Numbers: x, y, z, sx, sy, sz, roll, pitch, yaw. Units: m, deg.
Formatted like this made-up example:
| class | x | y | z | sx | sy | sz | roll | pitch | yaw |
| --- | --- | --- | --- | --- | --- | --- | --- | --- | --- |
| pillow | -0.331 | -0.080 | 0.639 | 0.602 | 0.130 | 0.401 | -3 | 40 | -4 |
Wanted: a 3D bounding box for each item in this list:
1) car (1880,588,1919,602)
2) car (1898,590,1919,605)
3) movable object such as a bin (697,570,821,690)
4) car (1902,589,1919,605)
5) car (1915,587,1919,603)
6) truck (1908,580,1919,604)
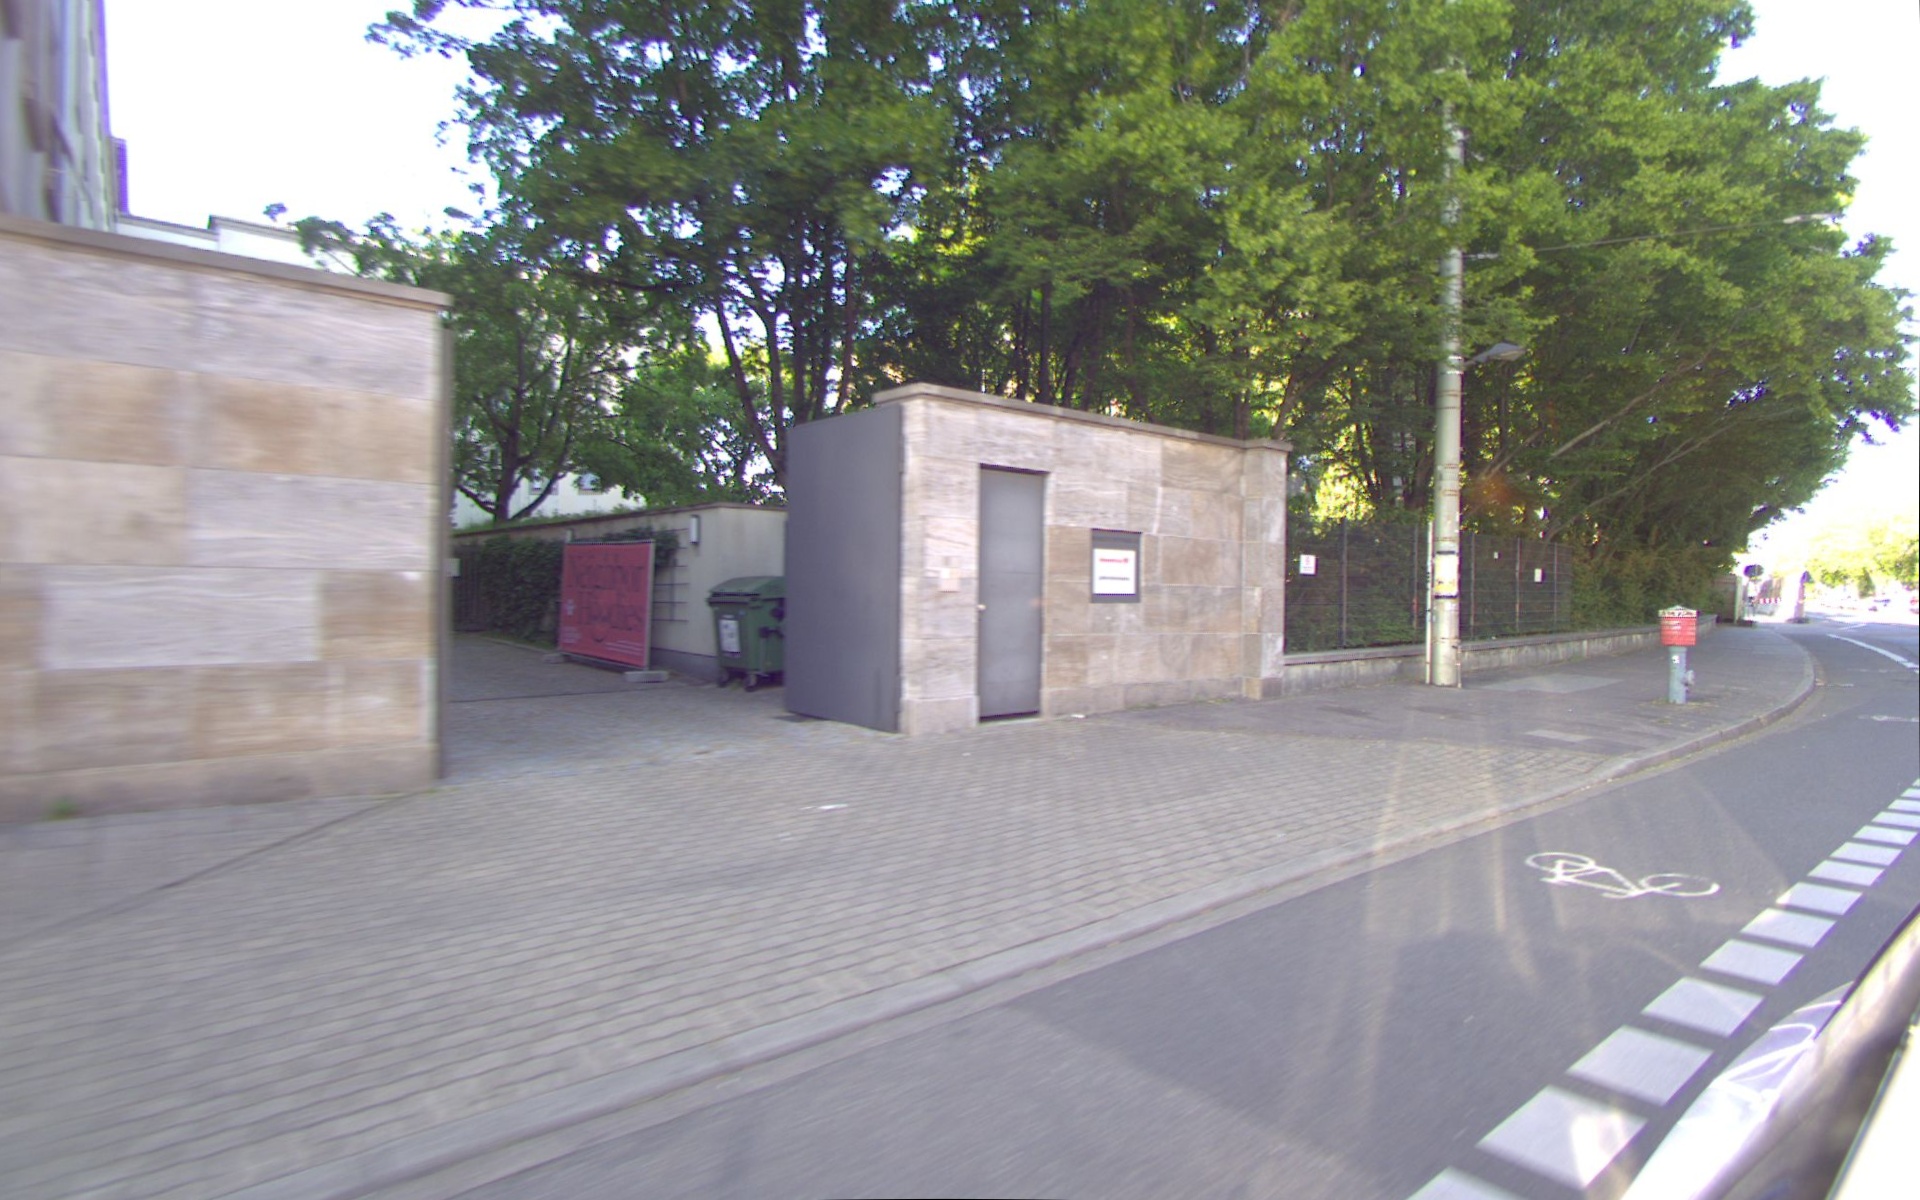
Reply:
| class | x | y | z | sx | sy | sz | roll | pitch | yaw |
| --- | --- | --- | --- | --- | --- | --- | --- | --- | --- |
| car | 115.211 | -0.577 | 123.670 | 3.744 | 1.614 | 1.654 | -2 | -1 | 32 |
| car | 105.173 | -0.340 | 110.433 | 3.744 | 1.614 | 1.654 | -2 | -1 | 32 |
| movable object such as a bin | -2.678 | 0.357 | 13.457 | 1.092 | 1.485 | 1.375 | 0 | 1 | -40 |
| car | 103.380 | -0.363 | 108.033 | 3.744 | 1.614 | 1.654 | -2 | -1 | 32 |
| car | 99.011 | -0.548 | 101.984 | 3.744 | 1.614 | 1.654 | -2 | -1 | 32 |
| truck | 101.086 | -0.851 | 104.965 | 3.751 | 2.454 | 1.650 | -2 | -1 | 37 |
